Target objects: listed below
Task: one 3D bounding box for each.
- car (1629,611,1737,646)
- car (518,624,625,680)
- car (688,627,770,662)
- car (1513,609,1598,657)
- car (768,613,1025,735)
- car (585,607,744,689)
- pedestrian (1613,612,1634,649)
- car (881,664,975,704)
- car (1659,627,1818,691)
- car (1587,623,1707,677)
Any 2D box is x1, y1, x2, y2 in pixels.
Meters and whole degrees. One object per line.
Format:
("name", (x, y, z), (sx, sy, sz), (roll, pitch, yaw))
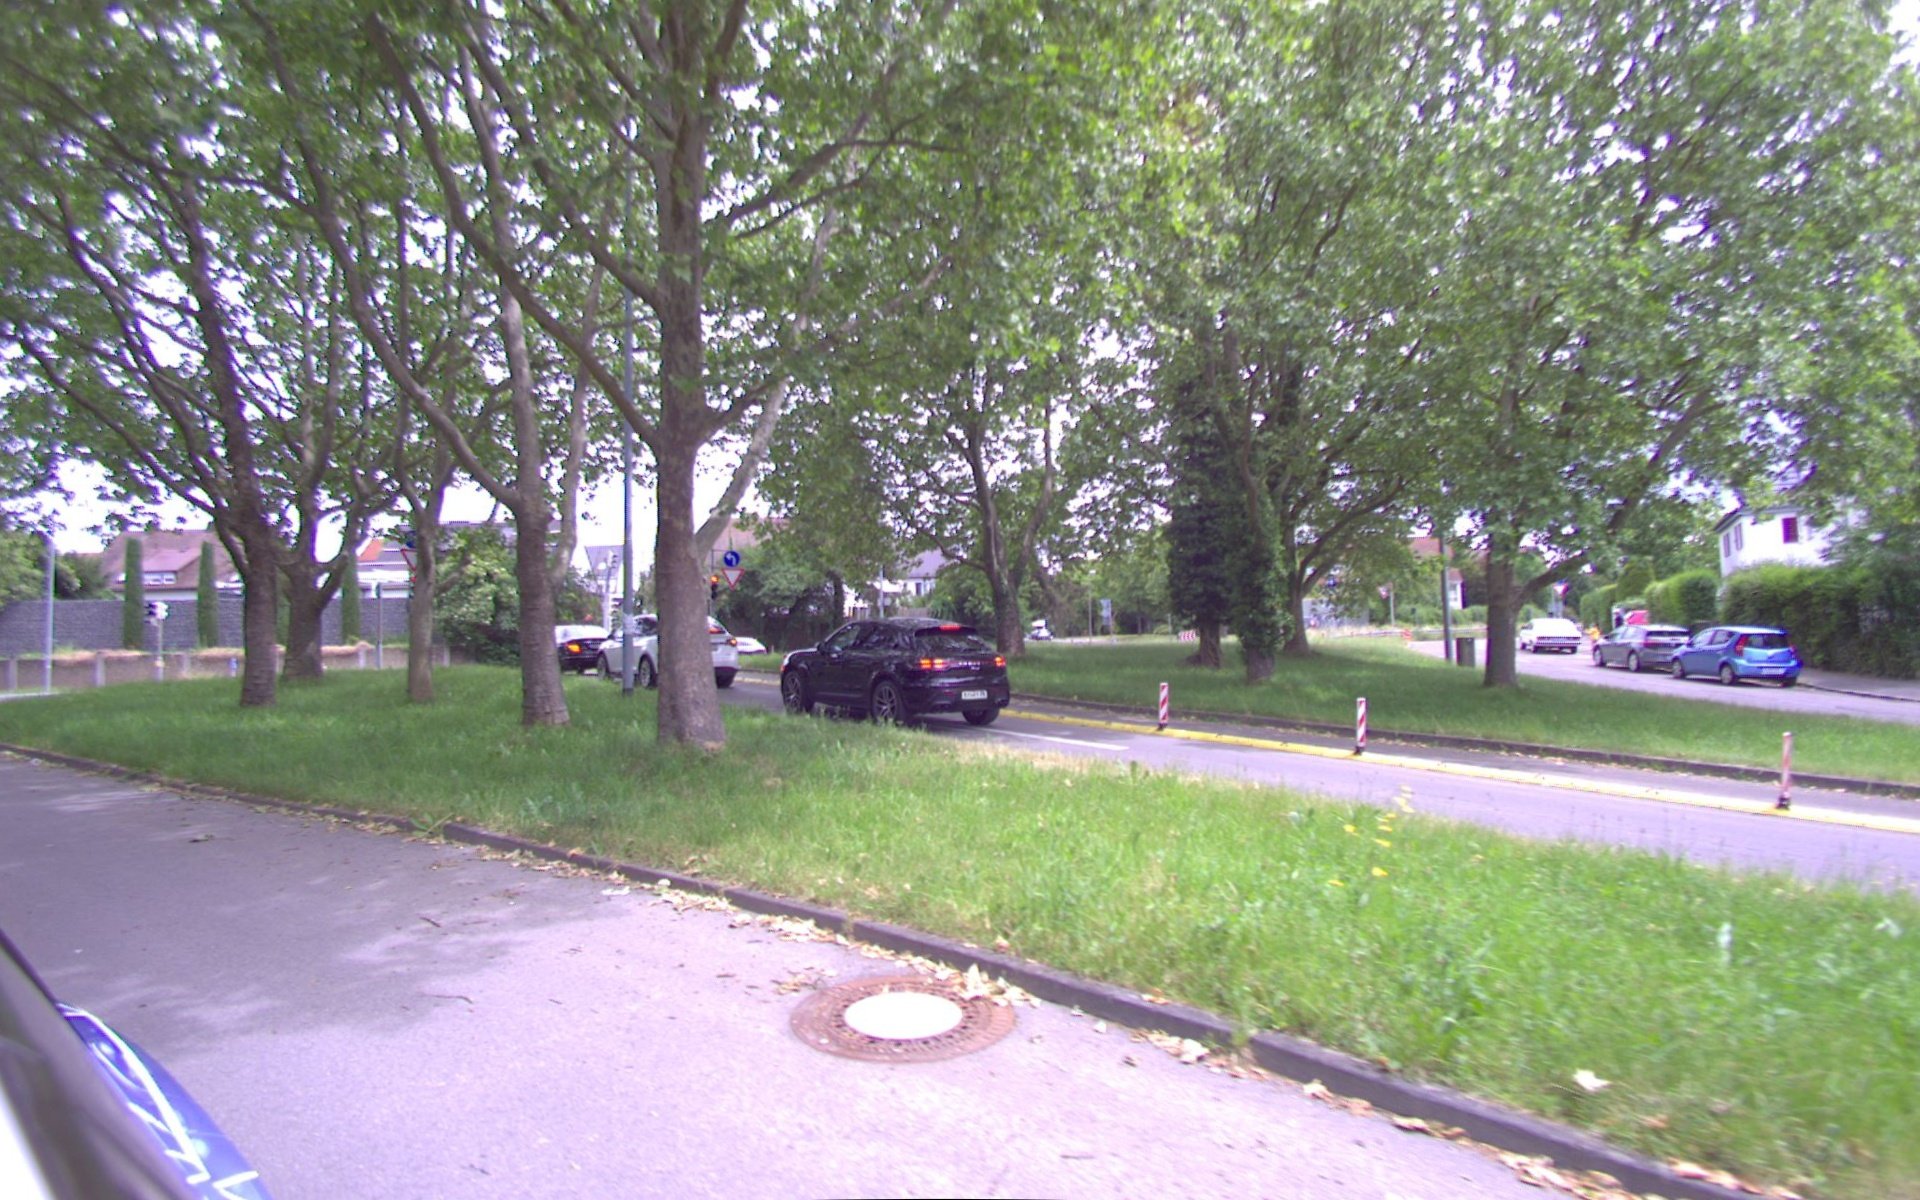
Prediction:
("car", (33.127, 1.314, 46.500), (3.809, 1.529, 1.594), (-2, -2, 30))
("car", (-11.466, 1.493, 29.711), (1.734, 1.529, 4.395), (1, -3, -38))
("car", (-10.652, 2.042, 46.622), (3.584, 1.542, 1.655), (1, -5, -17))
("car", (25.528, 1.375, 43.563), (2.200, 1.805, 4.850), (-3, -1, 20))
("car", (-1.159, 1.028, 15.906), (1.734, 1.603, 4.623), (1, -1, -38))
("car", (-6.978, 1.169, 23.520), (1.827, 1.671, 4.916), (1, -5, -38))
("pedestrian", (28.621, 1.311, 43.644), (0.571, 1.576, 0.634), (-6, -6, 41))
("car", (-1.332, 3.533, 42.324), (3.584, 1.536, 1.655), (3, -6, -17))
("car", (21.879, 1.610, 28.643), (1.761, 1.566, 3.771), (-3, -1, 6))
("car", (22.504, 1.594, 33.346), (1.643, 1.525, 3.985), (-3, -1, 9))
